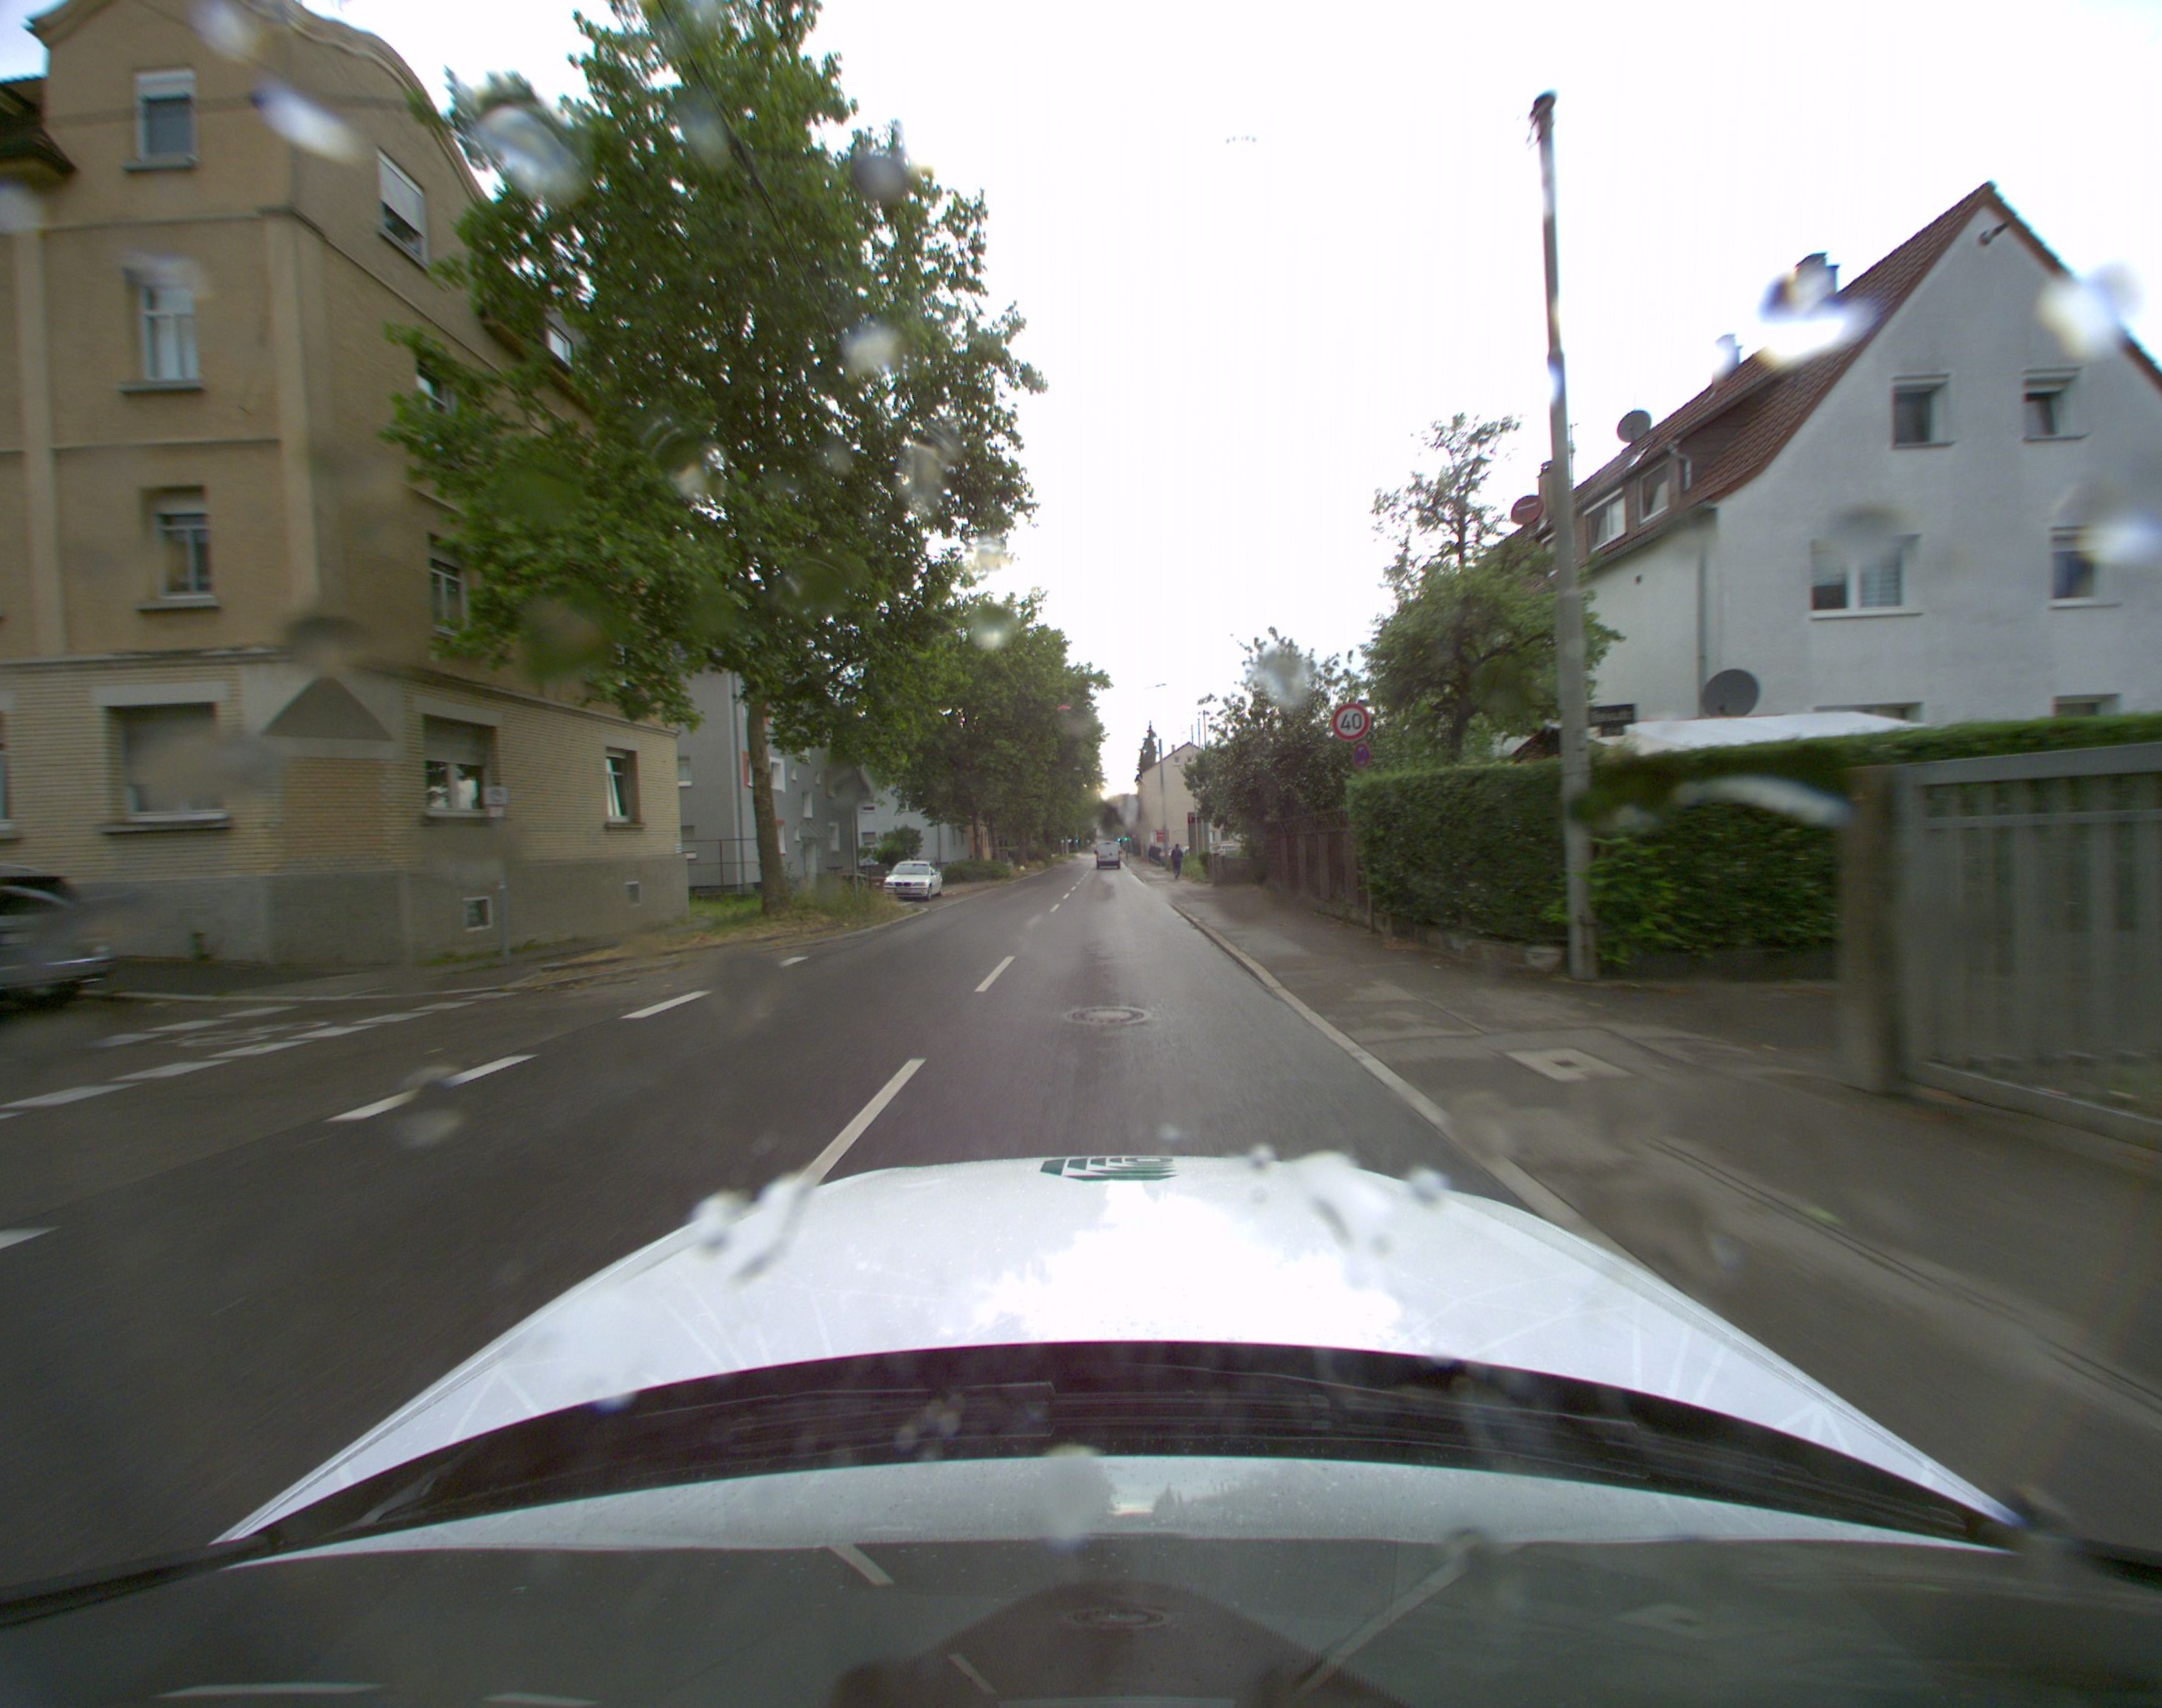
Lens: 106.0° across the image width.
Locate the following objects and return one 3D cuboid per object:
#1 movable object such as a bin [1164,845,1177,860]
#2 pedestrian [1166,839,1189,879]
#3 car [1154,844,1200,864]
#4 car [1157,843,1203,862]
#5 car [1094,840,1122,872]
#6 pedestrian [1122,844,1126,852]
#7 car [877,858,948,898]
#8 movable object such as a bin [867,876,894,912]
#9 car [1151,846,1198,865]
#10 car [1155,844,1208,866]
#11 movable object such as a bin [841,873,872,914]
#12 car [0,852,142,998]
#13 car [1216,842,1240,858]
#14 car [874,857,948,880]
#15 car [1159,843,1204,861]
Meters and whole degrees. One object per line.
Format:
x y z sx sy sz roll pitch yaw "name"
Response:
9.679 -0.180 88.368 1.230 1.509 1.111 -4 -1 1 "movable object such as a bin"
4.797 0.249 40.513 1.039 1.897 0.901 -2 -1 1 "pedestrian"
8.483 0.038 72.195 3.934 1.724 1.792 -1 0 1 "car"
9.412 -0.170 77.598 4.213 1.736 1.870 -1 -1 1 "car"
2.329 0.205 69.689 2.274 2.552 4.002 -2 -1 2 "car"
8.742 -1.270 166.439 0.741 1.704 0.900 0 -1 -4 "pedestrian"
-6.178 0.827 30.329 1.750 1.326 4.536 -1 0 -1 "car"
-5.385 1.065 21.862 0.510 0.927 0.581 -3 -1 1 "movable object such as a bin"
8.543 0.135 74.692 4.052 1.736 1.870 -1 -1 1 "car"
8.563 0.092 69.646 4.287 1.768 2.000 -1 -1 1 "car"
-5.994 1.043 21.771 0.532 1.057 0.762 -3 -1 1 "movable object such as a bin"
-13.988 0.804 9.280 4.102 1.611 2.042 -1 -1 -1 "car"
14.244 -0.367 79.007 1.801 1.530 3.628 -1 -1 1 "car"
-11.582 0.969 55.682 4.646 1.477 1.870 -1 -1 1 "car"
9.861 -0.164 80.207 4.213 1.736 1.870 -1 -1 1 "car"
